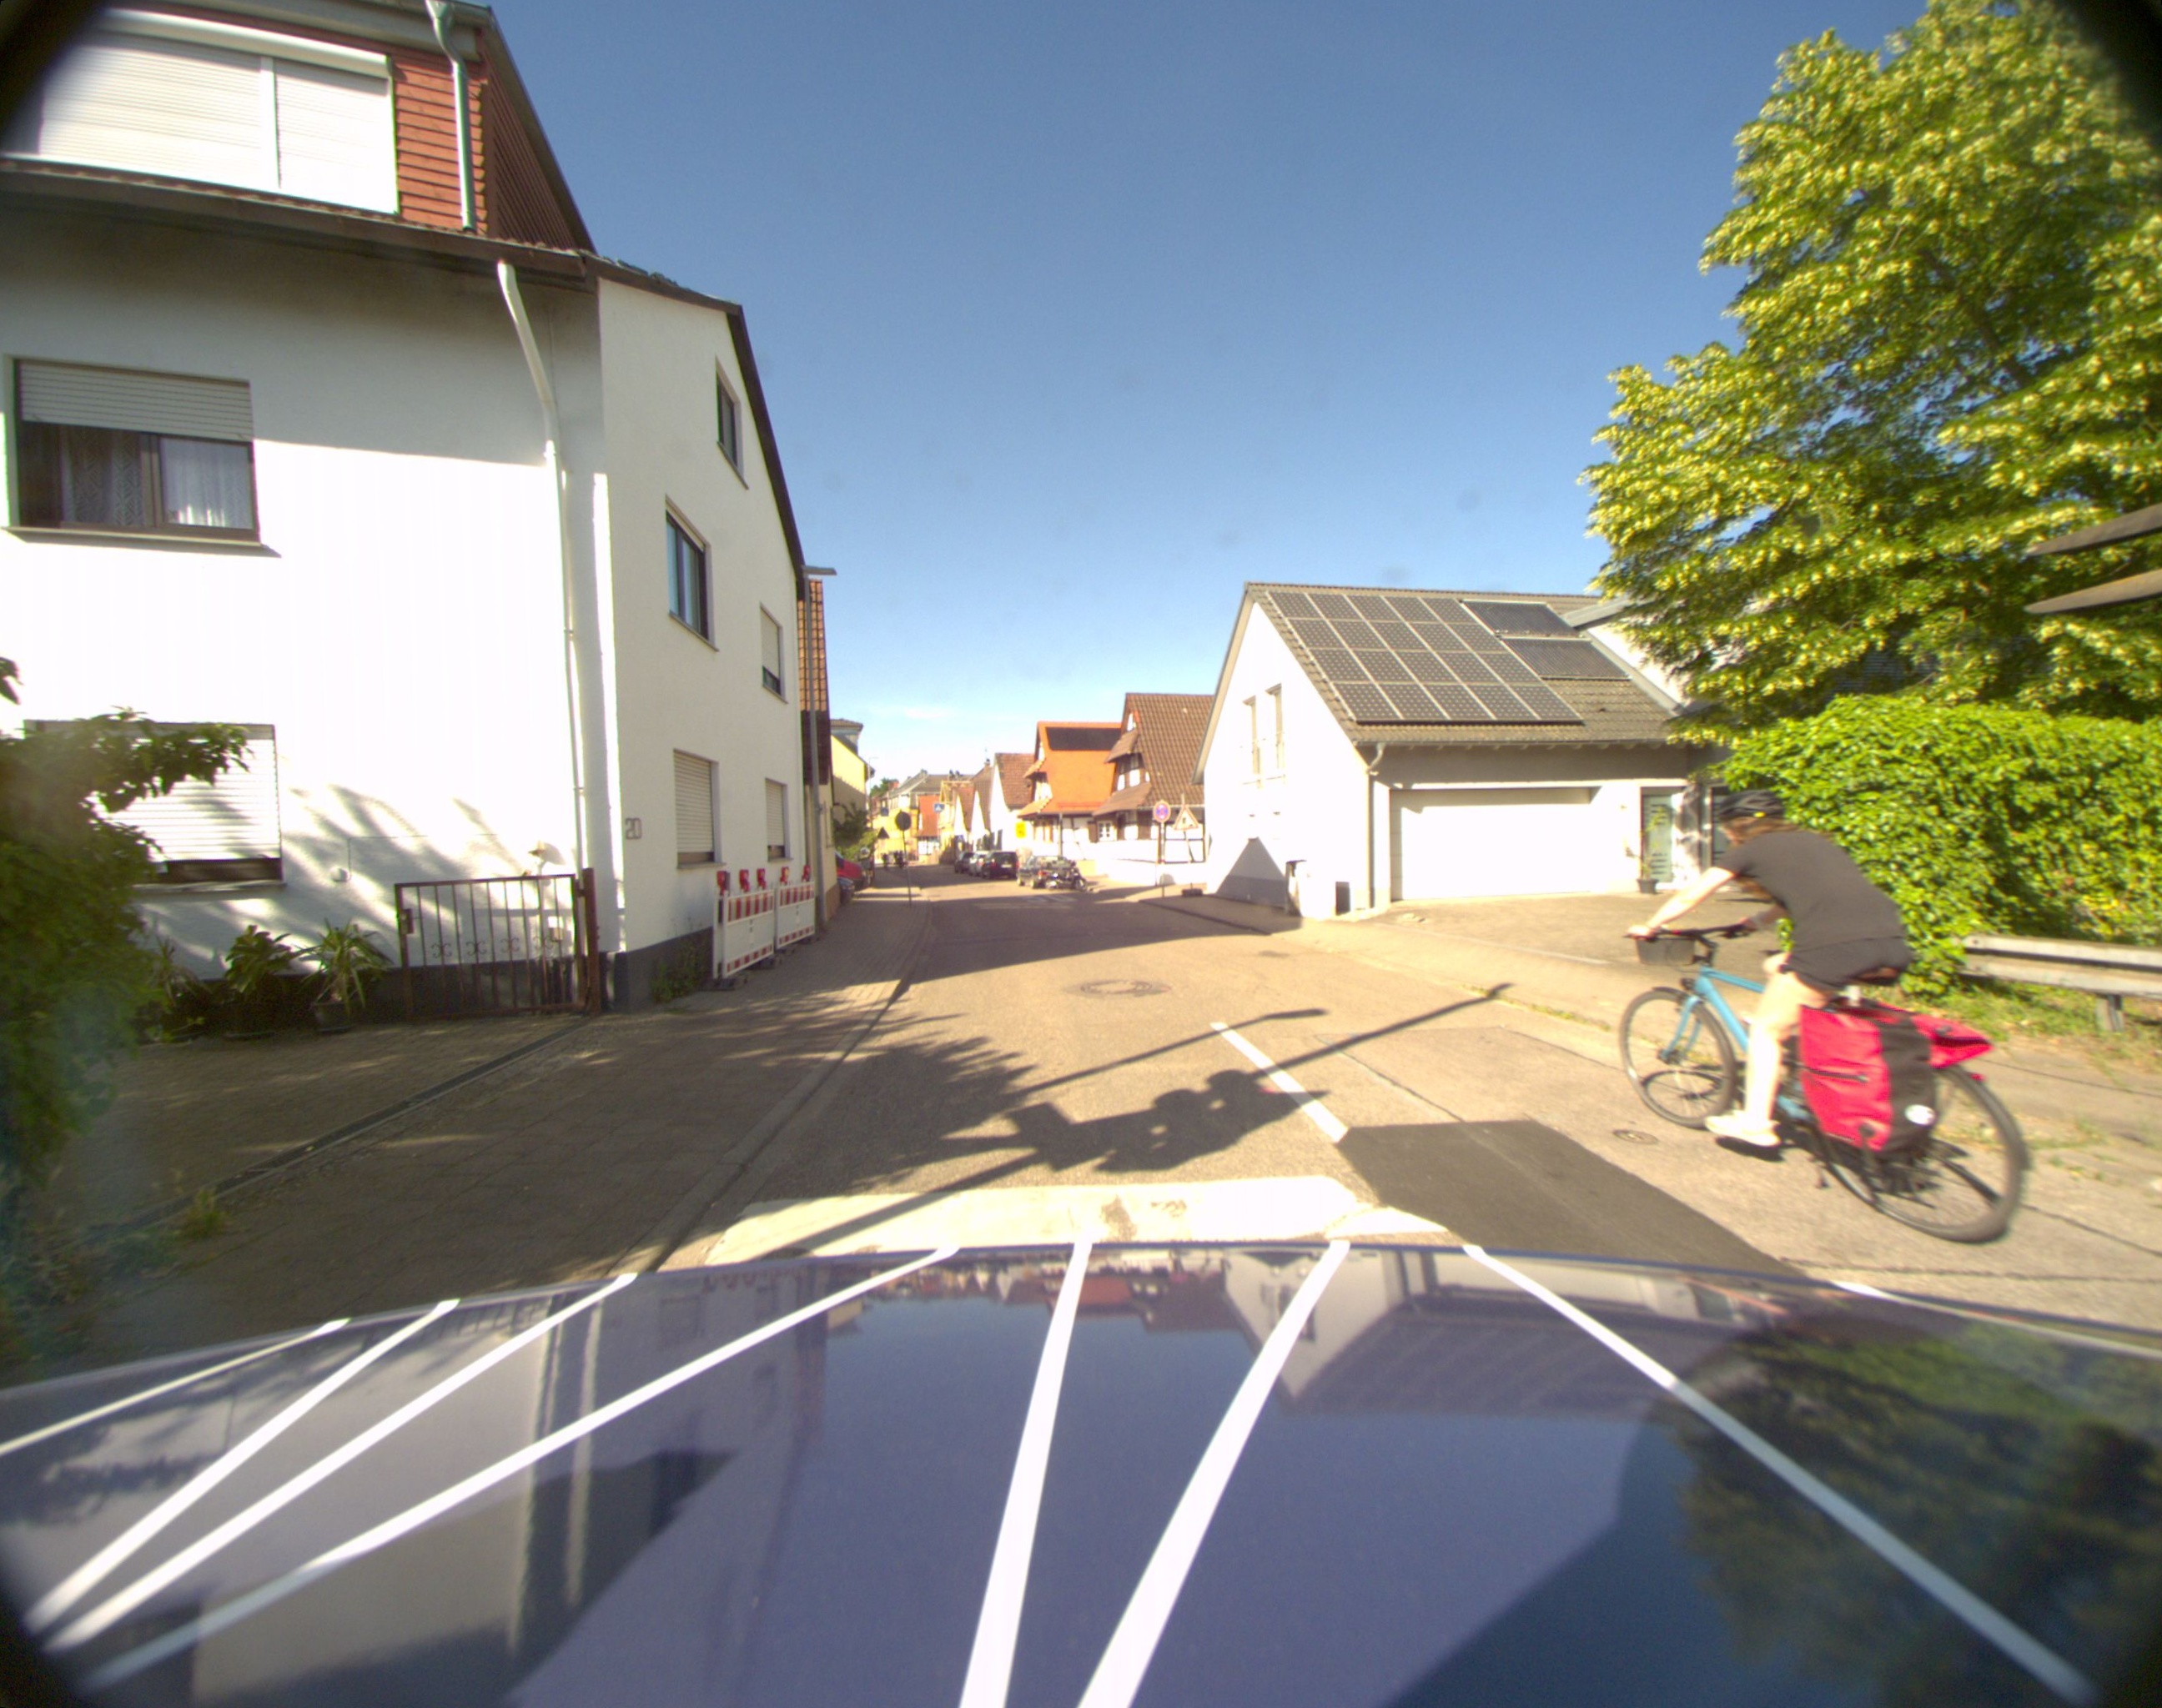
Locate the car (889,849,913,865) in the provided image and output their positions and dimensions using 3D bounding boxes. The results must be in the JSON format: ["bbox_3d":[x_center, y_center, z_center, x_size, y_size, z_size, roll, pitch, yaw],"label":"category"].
[{"bbox_3d":[-22.779,0.337,96.017,1.884,1.870,4.824,-2,2,-26],"label":"car"}]

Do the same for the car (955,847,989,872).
[{"bbox_3d":[-7.885,0.369,54.881,1.749,1.605,3.993,-2,2,-18],"label":"car"}]

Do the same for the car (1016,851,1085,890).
[{"bbox_3d":[-1.386,0.621,32.078,1.852,1.398,5.028,-1,2,-15],"label":"car"}]

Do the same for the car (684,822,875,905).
[{"bbox_3d":[-10.169,0.264,26.054,5.827,2.640,1.964,-1,2,-19],"label":"car"}]

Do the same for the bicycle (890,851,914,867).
[{"bbox_3d":[-19.213,0.491,81.327,1.259,1.543,3.990,-6,3,-31],"label":"bicycle"}]

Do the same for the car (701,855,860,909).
[{"bbox_3d":[-9.143,0.812,23.475,4.391,1.478,1.836,0,2,-17],"label":"car"}]

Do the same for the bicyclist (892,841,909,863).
[{"bbox_3d":[-19.274,-0.211,81.314,1.259,2.296,1.239,-6,4,-32],"label":"bicyclist"}]

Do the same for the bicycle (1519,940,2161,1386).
[{"bbox_3d":[2.938,0.997,3.210,0.886,0.999,2.062,-1,1,-4],"label":"bicycle"}]

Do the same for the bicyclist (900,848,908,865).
[{"bbox_3d":[-16.860,0.232,72.402,0.611,1.525,0.654,-5,3,-17],"label":"bicyclist"}]

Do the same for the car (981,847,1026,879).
[{"bbox_3d":[-4.470,0.452,43.106,1.790,1.596,4.354,-2,2,-15],"label":"car"}]

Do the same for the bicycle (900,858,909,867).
[{"bbox_3d":[-16.802,0.806,72.379,0.625,0.775,1.909,-5,3,-17],"label":"bicycle"}]

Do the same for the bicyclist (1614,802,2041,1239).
[{"bbox_3d":[2.939,0.575,3.116,0.850,1.533,0.872,-1,3,-4],"label":"bicyclist"}]

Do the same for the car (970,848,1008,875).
[{"bbox_3d":[-5.898,0.426,48.361,1.823,1.558,4.161,-2,2,-15],"label":"car"}]

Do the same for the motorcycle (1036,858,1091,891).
[{"bbox_3d":[-0.671,0.776,28.821,1.989,1.224,0.628,-1,1,29],"label":"motorcycle"}]
